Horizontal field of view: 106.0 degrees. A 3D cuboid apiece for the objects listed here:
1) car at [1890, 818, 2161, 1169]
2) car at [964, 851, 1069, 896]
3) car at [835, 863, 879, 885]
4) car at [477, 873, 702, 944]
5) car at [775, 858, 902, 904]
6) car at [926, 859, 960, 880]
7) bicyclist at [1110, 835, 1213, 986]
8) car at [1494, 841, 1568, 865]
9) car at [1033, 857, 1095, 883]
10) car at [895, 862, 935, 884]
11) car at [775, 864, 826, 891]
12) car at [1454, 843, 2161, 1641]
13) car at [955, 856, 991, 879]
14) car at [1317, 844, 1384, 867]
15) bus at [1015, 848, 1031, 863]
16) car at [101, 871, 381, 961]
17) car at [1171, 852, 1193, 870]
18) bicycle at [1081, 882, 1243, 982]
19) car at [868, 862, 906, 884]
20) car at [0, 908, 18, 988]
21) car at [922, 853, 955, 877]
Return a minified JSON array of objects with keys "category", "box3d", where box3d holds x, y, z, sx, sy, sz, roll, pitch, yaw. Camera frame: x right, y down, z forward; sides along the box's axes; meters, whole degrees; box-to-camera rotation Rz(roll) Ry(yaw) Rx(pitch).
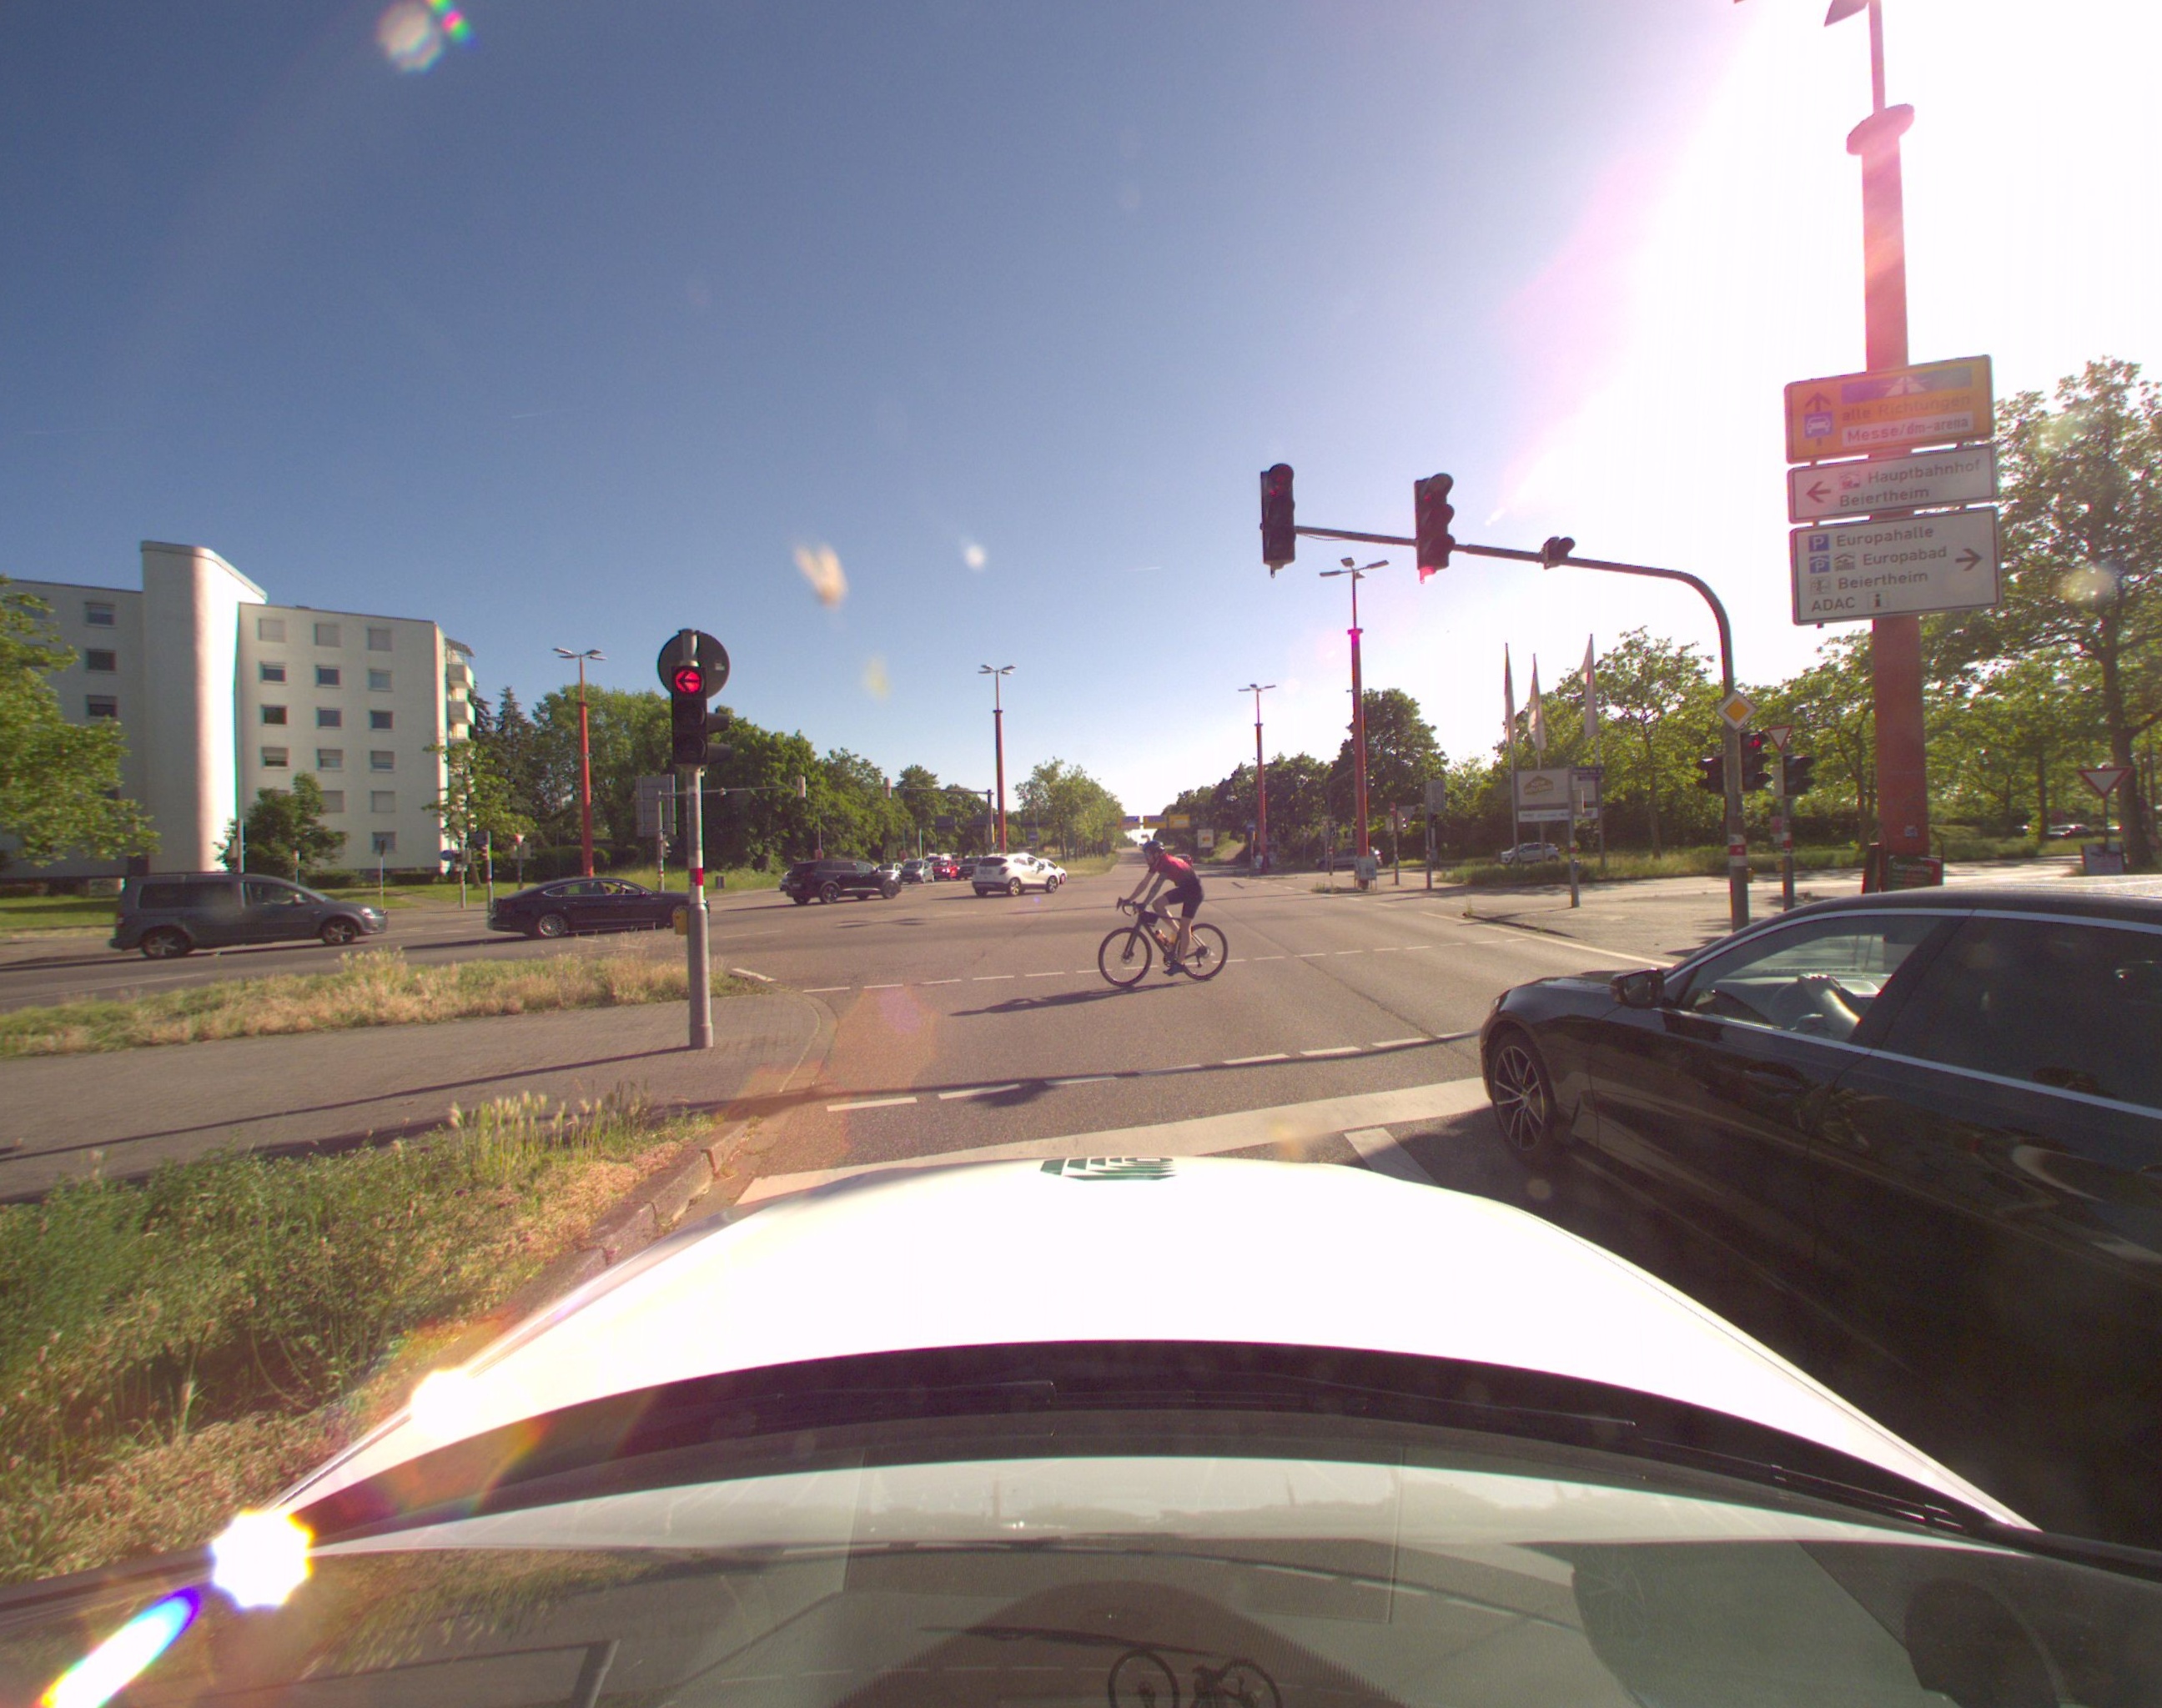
[{"category":"car","box3d":[5.666,0.602,2.858,1.732,1.578,4.032,-2,0,3]},{"category":"car","box3d":[-2.501,0.748,32.566,1.805,1.636,4.280,-2,0,35]},{"category":"car","box3d":[-14.089,1.215,51.417,1.733,1.243,3.613,-2,0,1]},{"category":"car","box3d":[-11.772,1.234,19.704,4.387,1.350,1.744,-2,0,-43]},{"category":"car","box3d":[-9.114,0.984,30.873,1.834,1.545,4.289,-2,0,39]},{"category":"car","box3d":[-9.906,1.091,58.663,1.733,1.362,3.613,-2,0,1]},{"category":"bicyclist","box3d":[0.975,0.660,10.000,0.997,1.741,0.732,-2,0,-20]},{"category":"car","box3d":[29.999,-0.065,54.360,3.967,1.467,1.685,-2,0,1]},{"category":"car","box3d":[-0.867,0.839,44.577,1.468,1.346,4.025,-2,-1,31]},{"category":"car","box3d":[-10.605,1.192,52.304,1.733,1.243,3.613,-2,0,1]},{"category":"car","box3d":[-17.579,1.459,51.190,1.754,1.532,3.936,-2,0,1]},{"category":"car","box3d":[2.919,0.688,2.370,1.861,1.398,4.448,-2,0,4]},{"category":"car","box3d":[-7.424,0.898,56.416,1.812,1.508,4.002,-2,0,2]},{"category":"car","box3d":[19.156,0.125,57.964,4.275,1.485,1.796,-2,0,27]},{"category":"bus","box3d":[-13.129,0.395,183.901,2.482,3.238,10.004,-2,0,2]},{"category":"car","box3d":[-19.121,1.326,18.894,4.330,1.708,1.830,-2,0,-41]},{"category":"car","box3d":[8.431,0.575,67.820,1.670,1.435,4.076,-2,0,9]},{"category":"bicycle","box3d":[0.996,0.919,10.002,1.831,1.057,0.718,-2,0,-20]},{"category":"car","box3d":[-13.670,1.322,57.588,1.733,1.411,3.613,-2,0,1]},{"category":"car","box3d":[-20.187,1.665,12.472,4.380,1.350,1.747,-2,0,-34]},{"category":"car","box3d":[-12.510,0.990,71.674,1.886,2.026,5.224,-1,-1,1]}]
